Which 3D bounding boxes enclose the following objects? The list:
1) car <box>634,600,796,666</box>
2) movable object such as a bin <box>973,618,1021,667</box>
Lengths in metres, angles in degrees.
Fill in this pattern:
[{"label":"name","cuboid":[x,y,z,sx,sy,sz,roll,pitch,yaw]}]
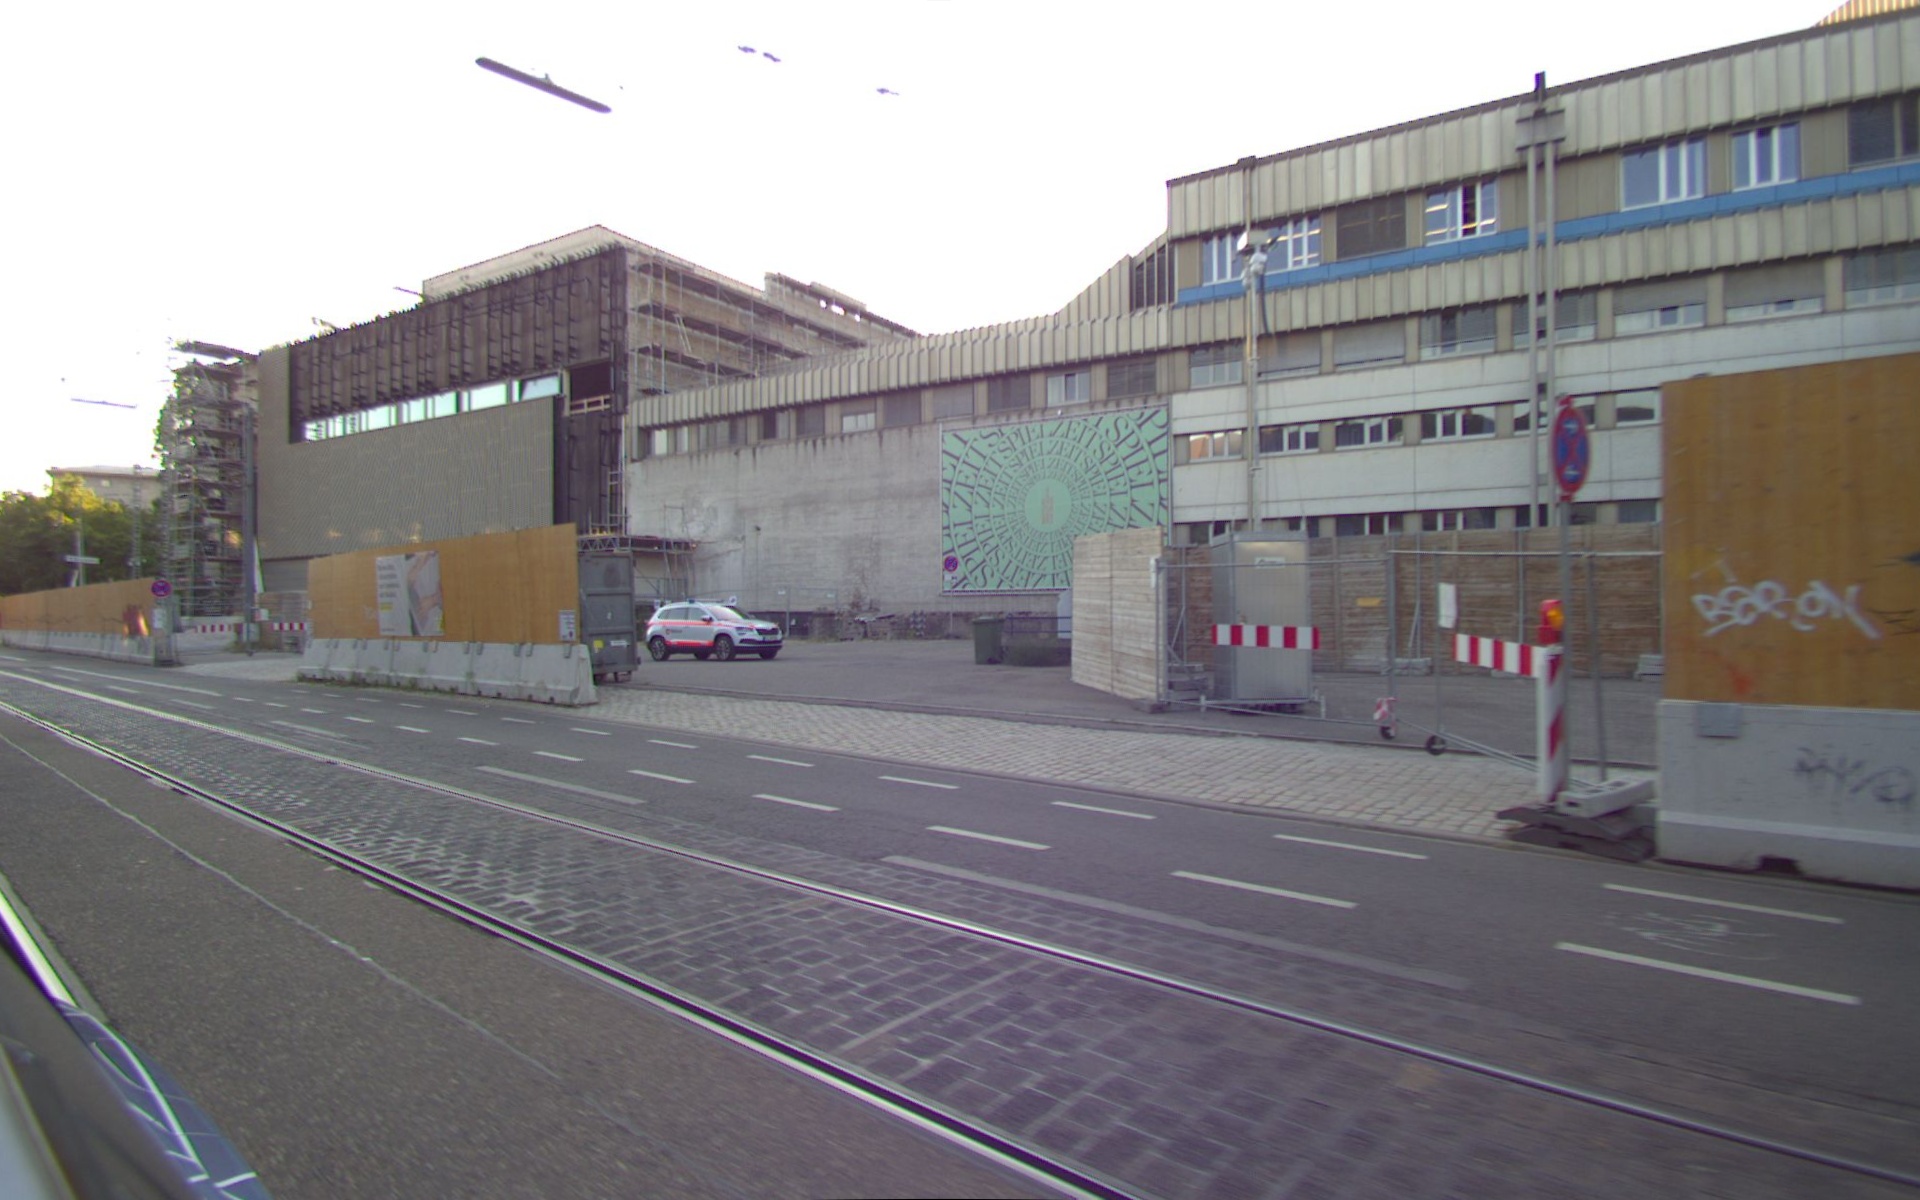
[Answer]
[{"label":"car","cuboid":[-6.782,0.883,27.903,4.268,1.676,1.977,-1,-1,34]},{"label":"movable object such as a bin","cuboid":[0.832,0.940,22.668,0.760,1.043,0.832,-1,-1,33]}]
